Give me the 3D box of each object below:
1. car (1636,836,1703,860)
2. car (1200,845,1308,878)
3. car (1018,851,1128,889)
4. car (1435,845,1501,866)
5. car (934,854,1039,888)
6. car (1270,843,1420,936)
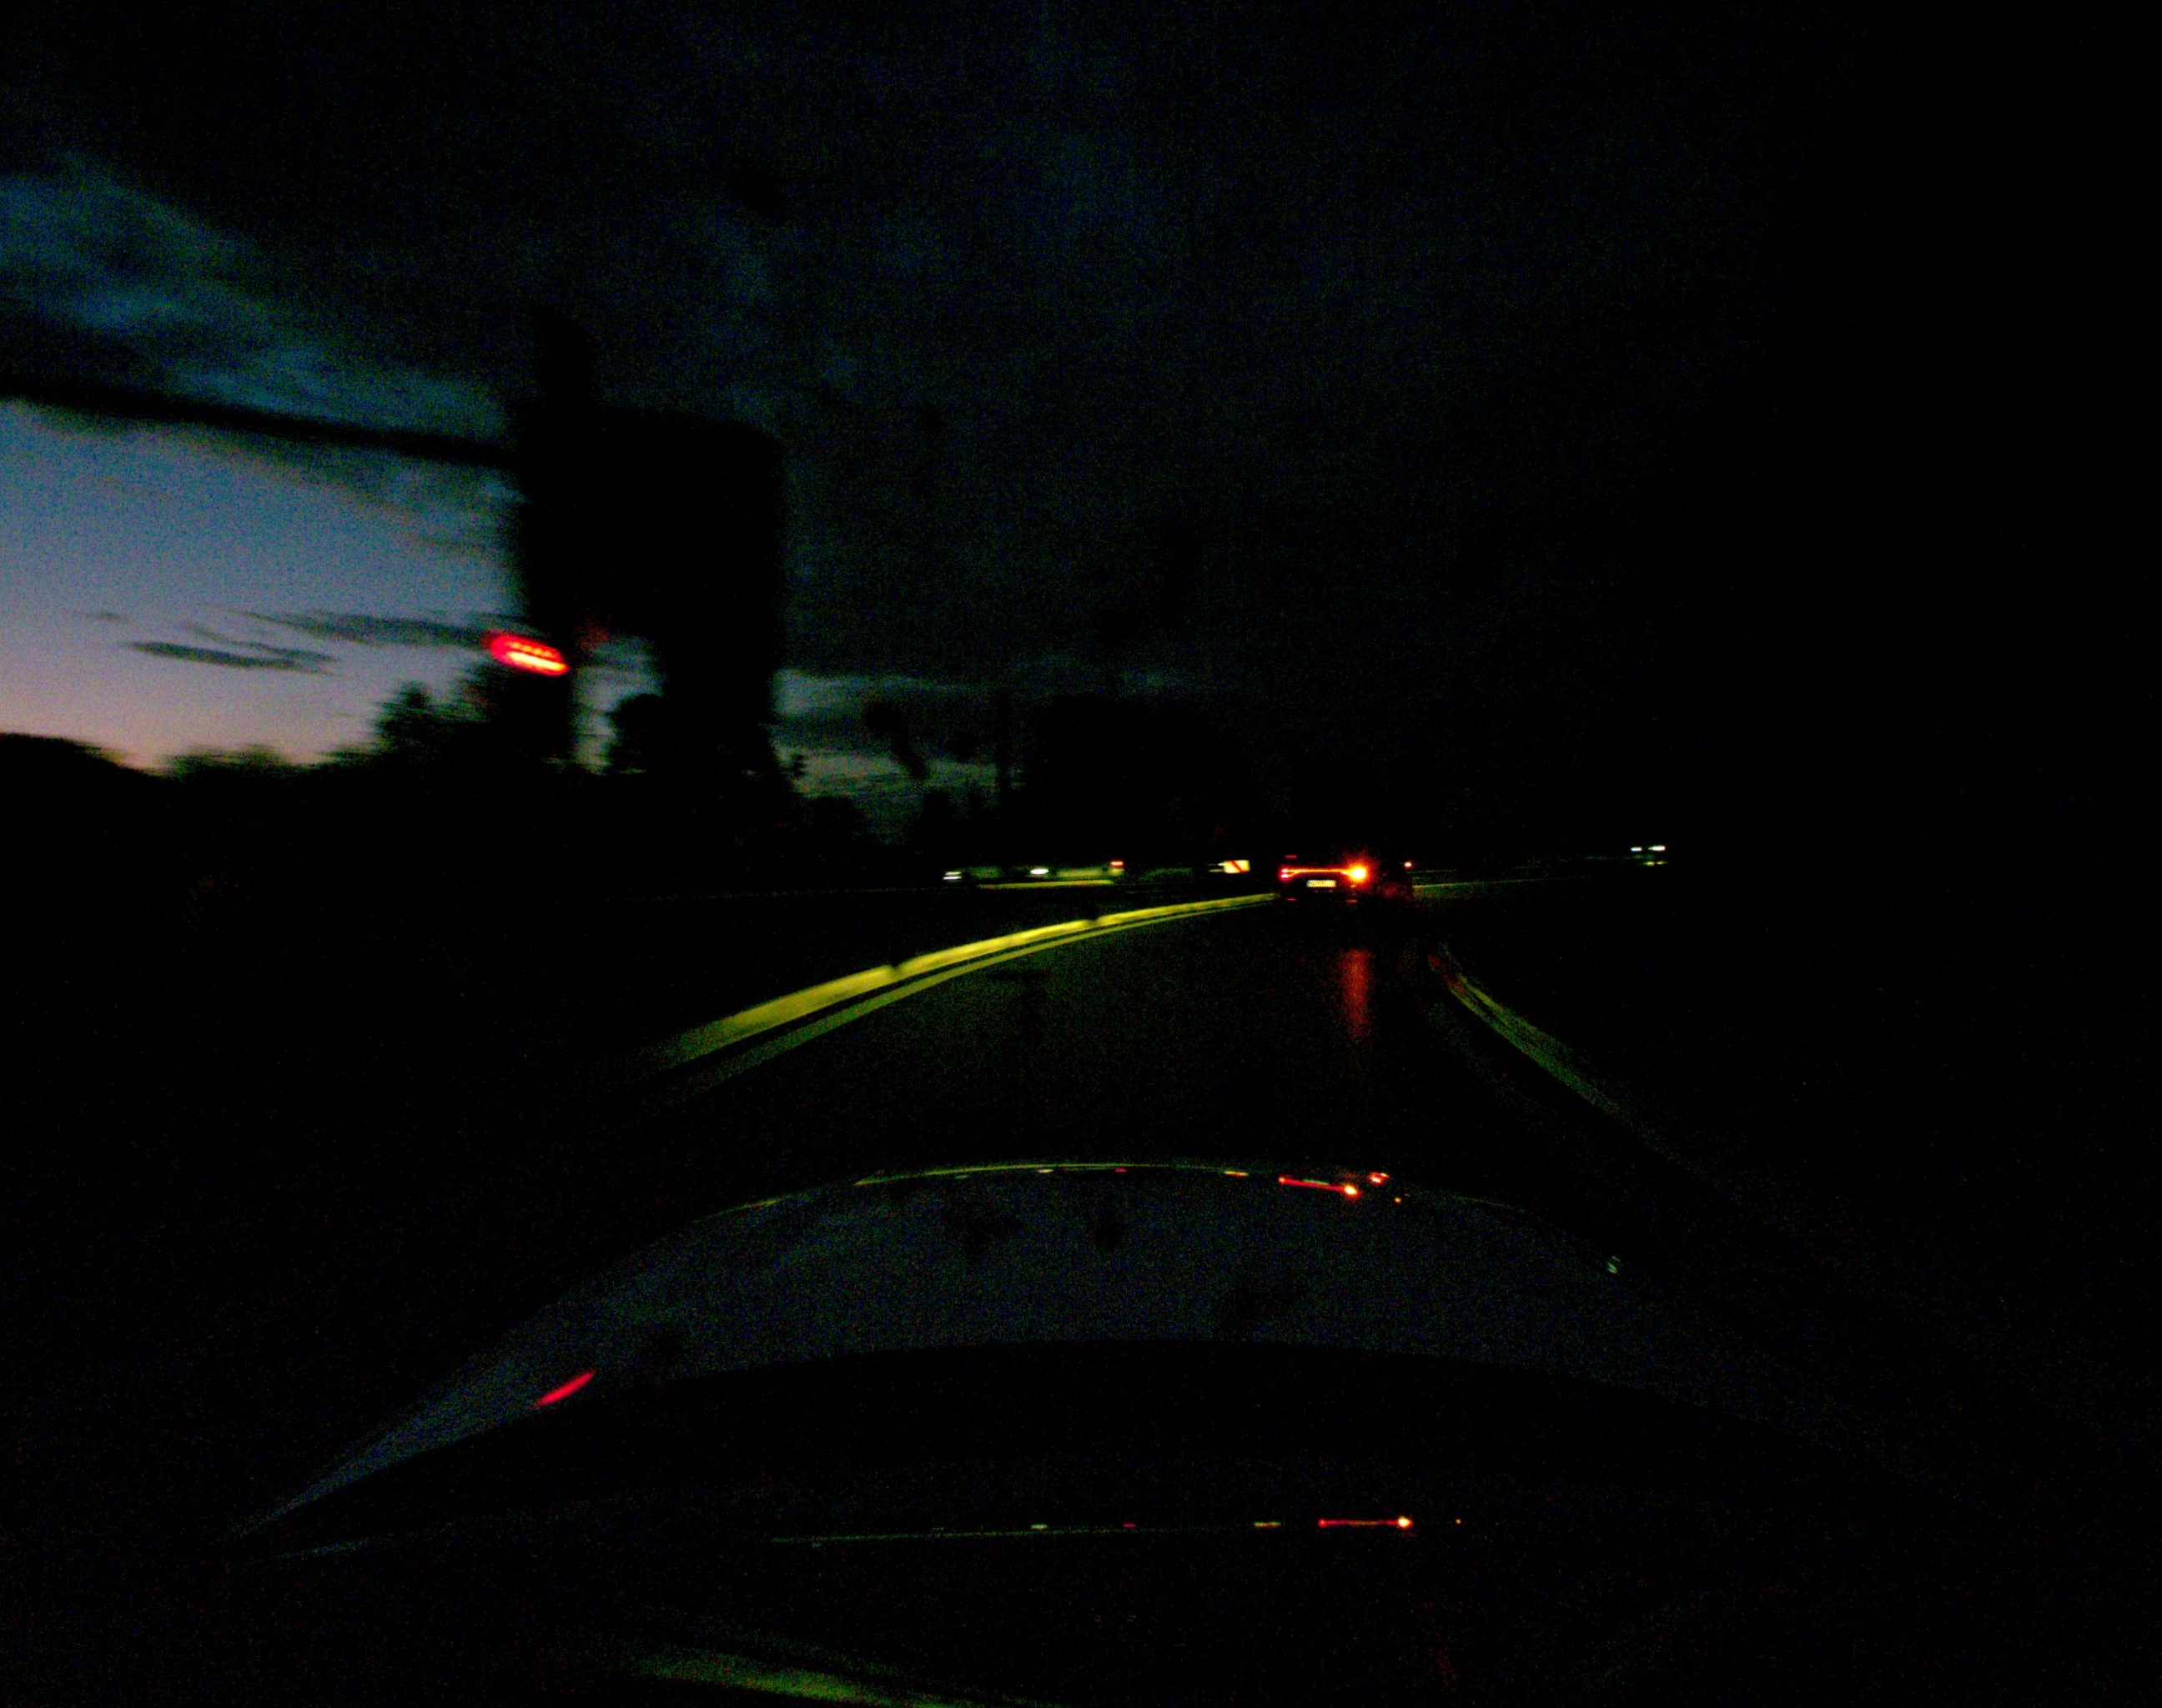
[{"bbox_3d":[42.116,-0.463,58.283,4.835,1.570,1.982,-1,-1,-28],"label":"car"},{"bbox_3d":[8.433,0.337,39.657,5.061,1.453,1.981,-1,-1,-29],"label":"car"},{"bbox_3d":[-0.347,0.745,38.759,4.889,1.682,1.980,0,-1,-31],"label":"car"},{"bbox_3d":[28.345,0.103,59.572,4.748,1.453,1.981,-1,-1,-29],"label":"car"},{"bbox_3d":[-4.665,0.841,40.416,4.749,1.453,1.980,-2,0,-30],"label":"car"},{"bbox_3d":[5.544,0.595,16.691,1.883,1.619,4.585,1,1,32],"label":"car"}]
